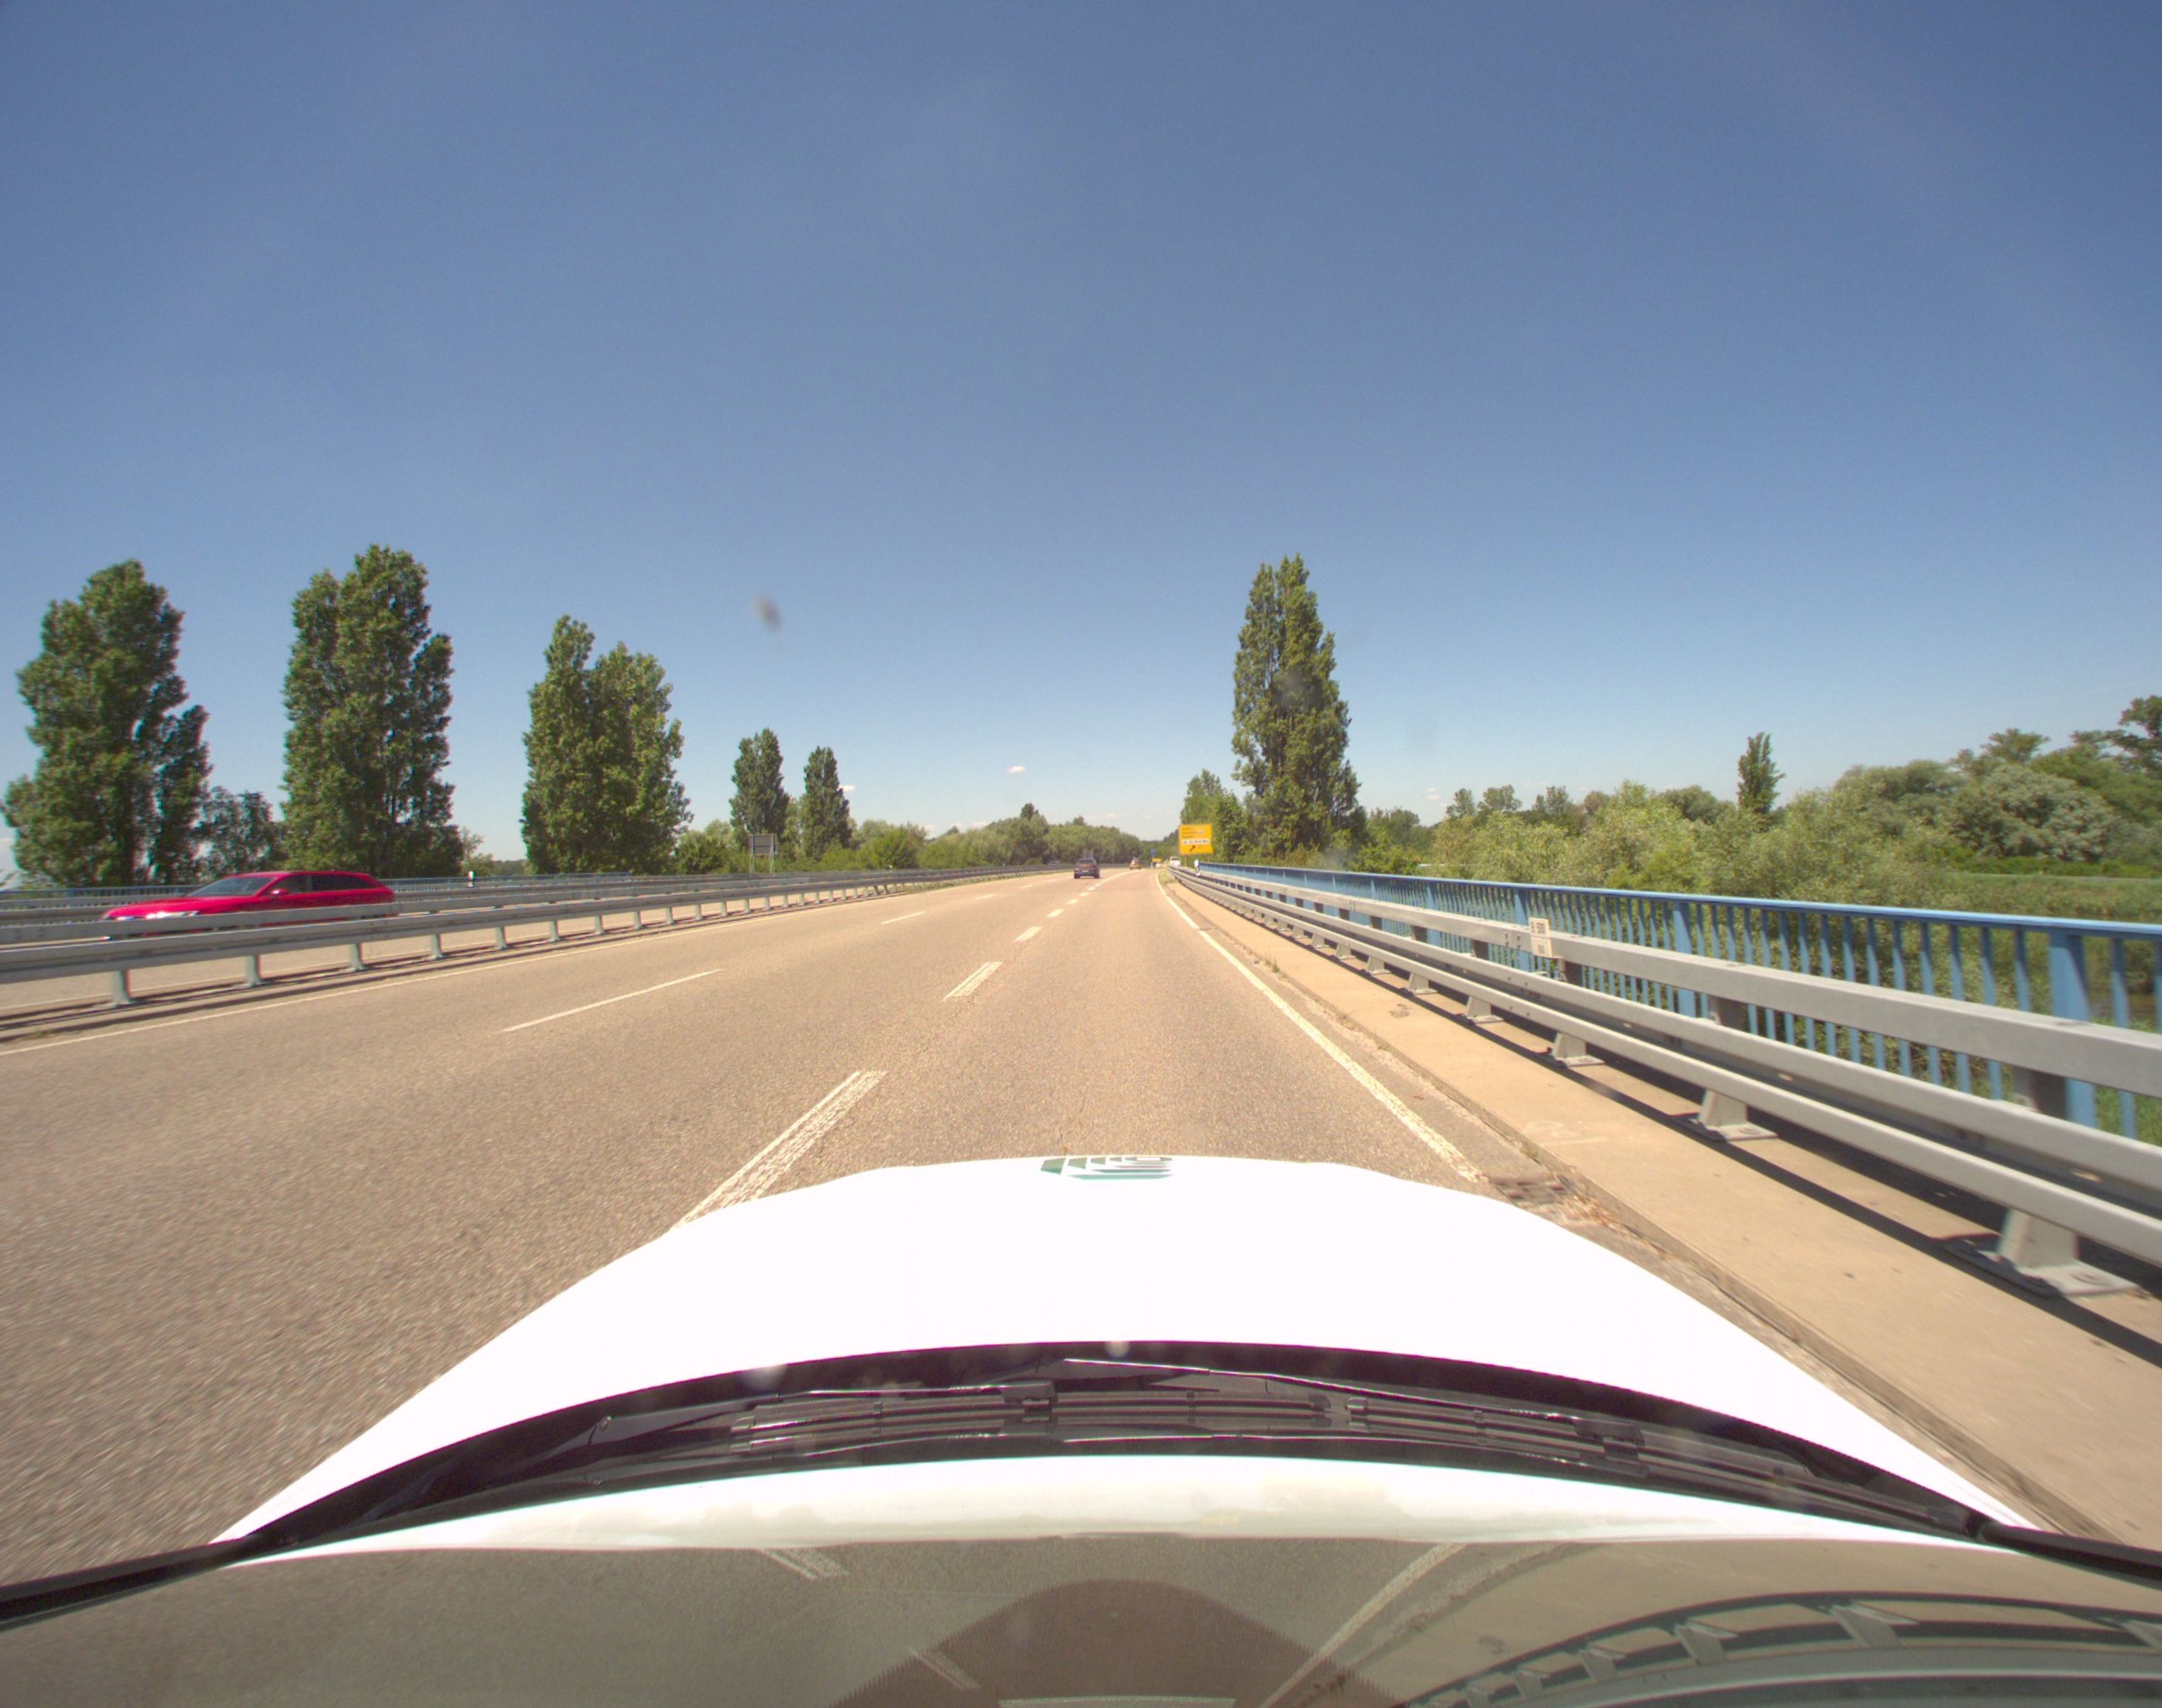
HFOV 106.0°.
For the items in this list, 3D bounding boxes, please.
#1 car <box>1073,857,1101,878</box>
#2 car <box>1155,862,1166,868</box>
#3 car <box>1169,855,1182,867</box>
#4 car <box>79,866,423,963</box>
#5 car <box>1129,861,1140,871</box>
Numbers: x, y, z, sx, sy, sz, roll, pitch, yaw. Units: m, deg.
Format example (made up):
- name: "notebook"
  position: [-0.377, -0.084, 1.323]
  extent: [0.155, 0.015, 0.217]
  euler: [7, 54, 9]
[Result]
- name: "car"
  position: [0.492, 1.054, 63.745]
  extent: [1.833, 1.530, 4.476]
  euler: [0, 0, 5]
- name: "car"
  position: [20.888, 2.938, 213.772]
  extent: [1.826, 1.451, 4.019]
  euler: [0, 0, 18]
- name: "car"
  position: [14.368, 1.055, 123.660]
  extent: [1.832, 1.895, 4.006]
  euler: [0, 0, 5]
- name: "car"
  position: [-16.638, 1.103, 16.842]
  extent: [1.836, 1.668, 5.052]
  euler: [-1, -1, 2]
- name: "car"
  position: [8.975, 2.000, 137.066]
  extent: [1.832, 1.464, 4.006]
  euler: [0, 0, 5]
